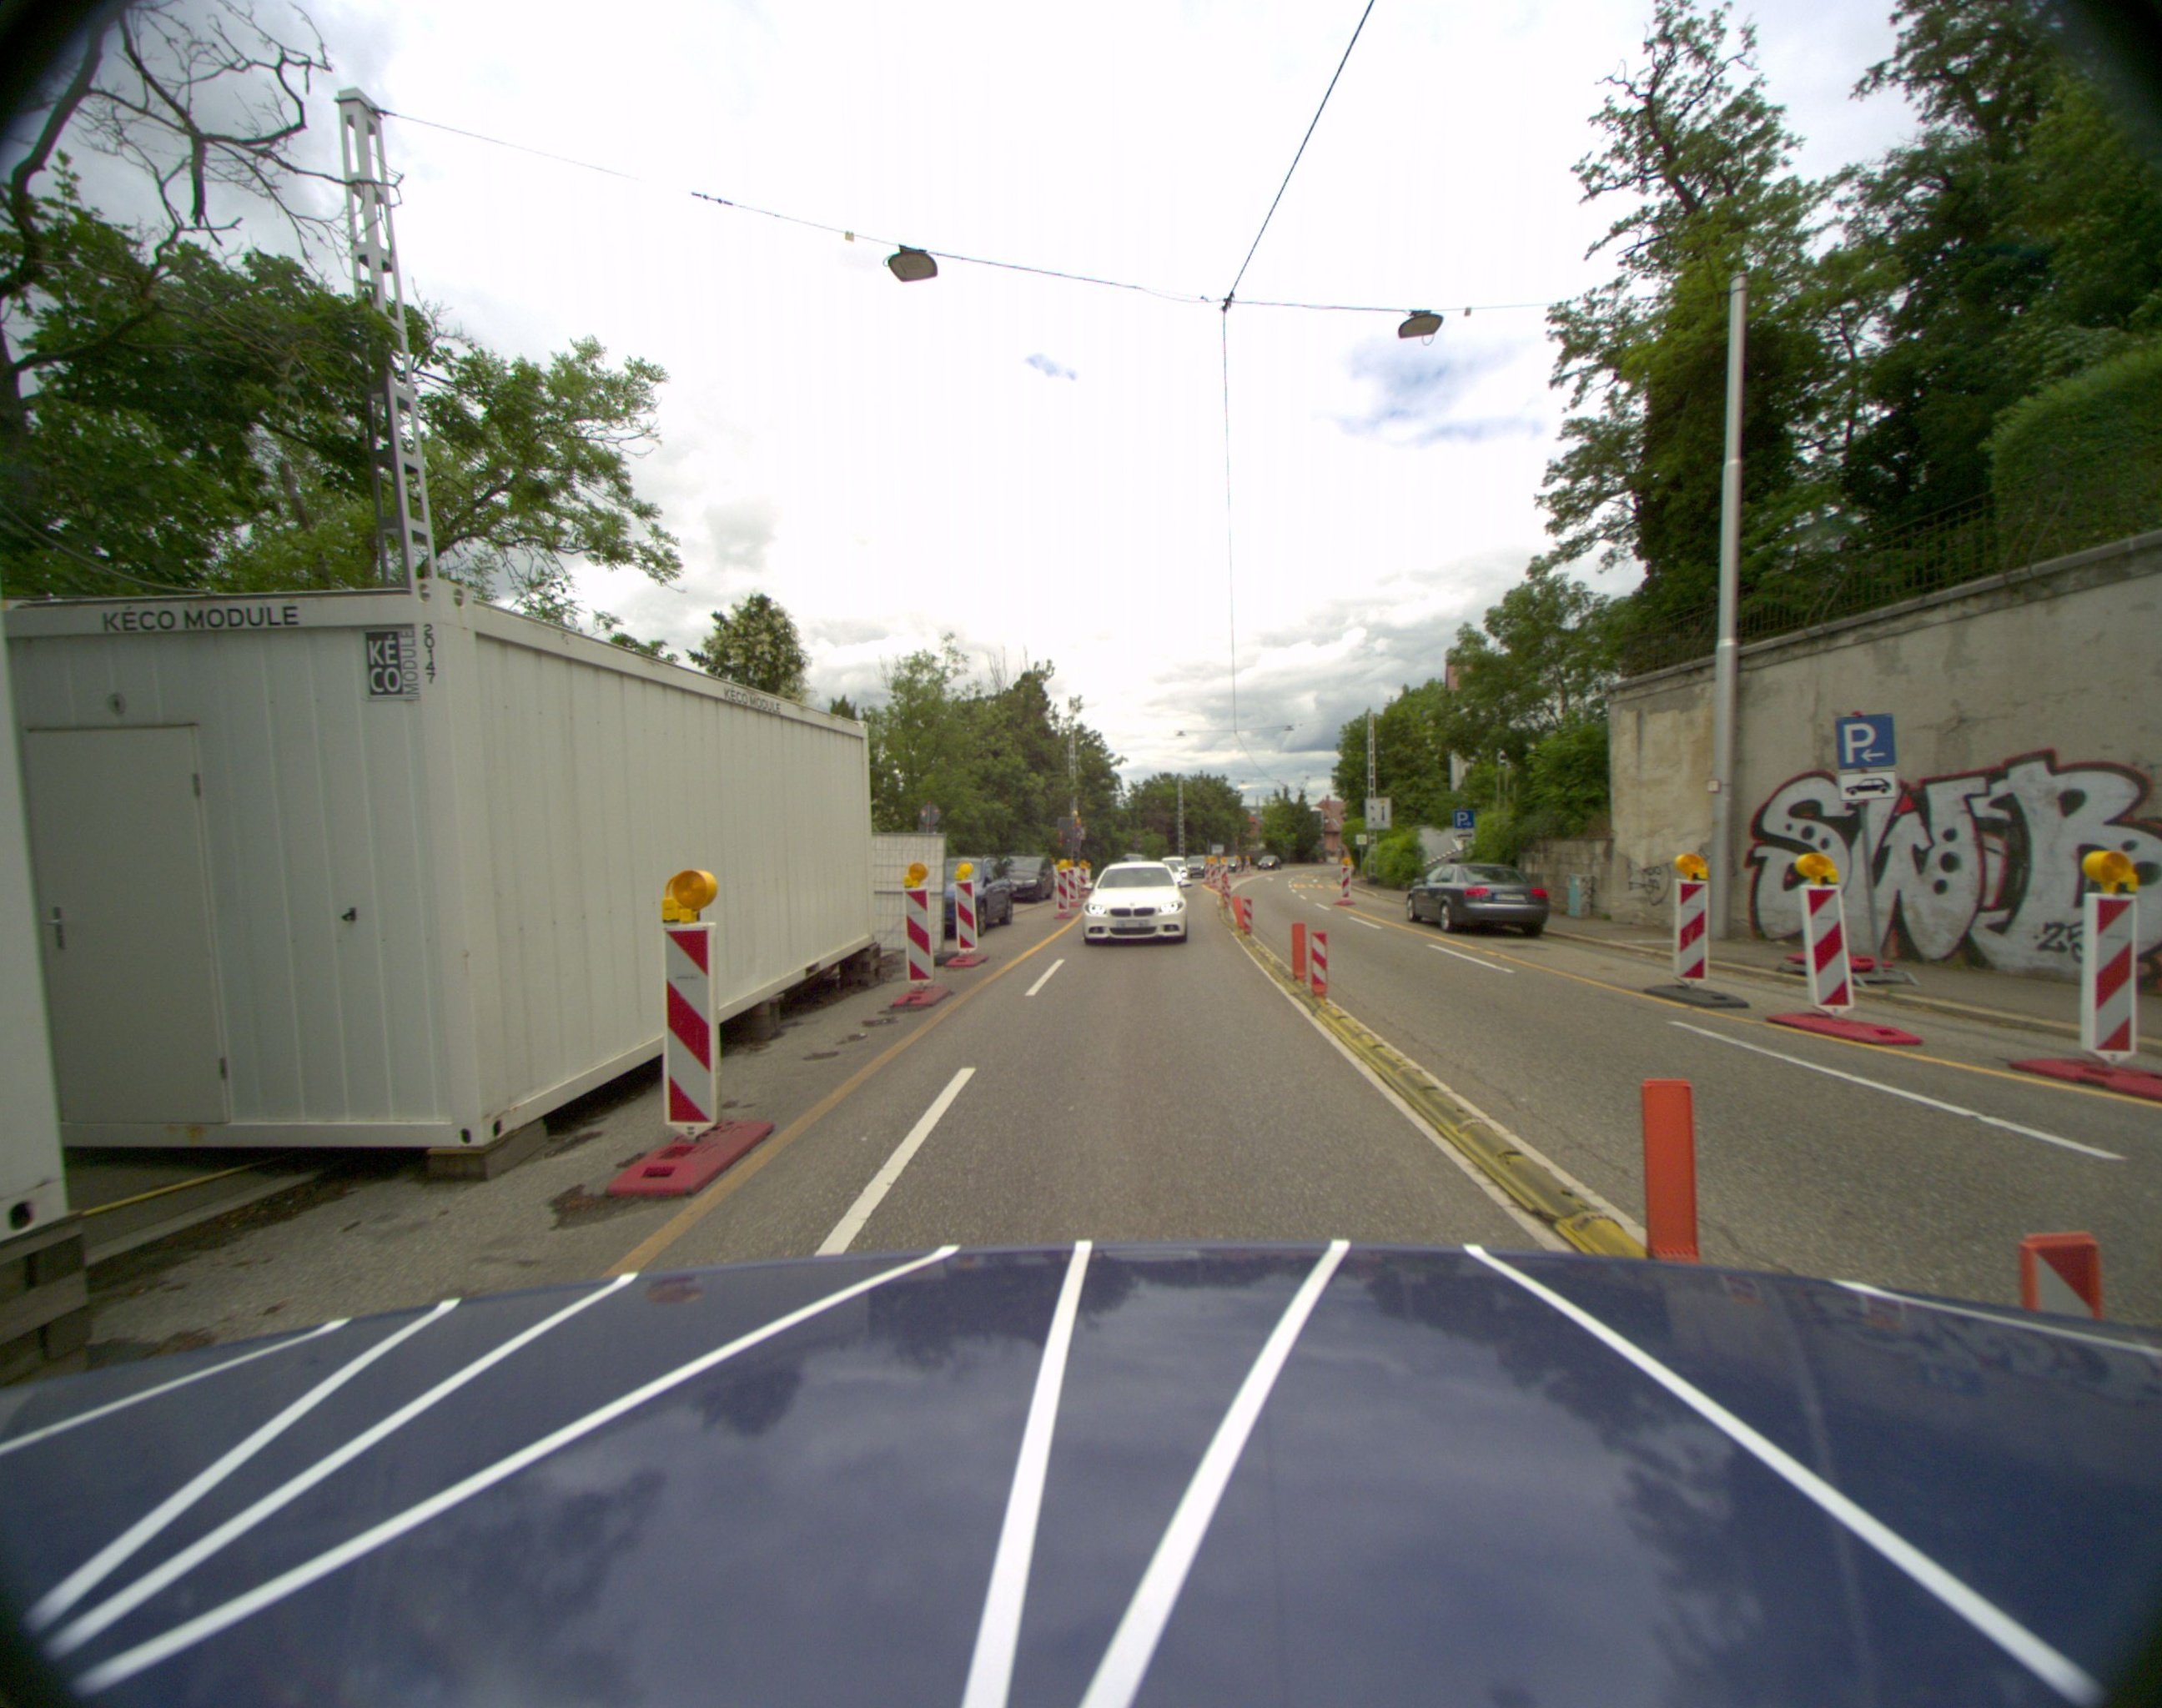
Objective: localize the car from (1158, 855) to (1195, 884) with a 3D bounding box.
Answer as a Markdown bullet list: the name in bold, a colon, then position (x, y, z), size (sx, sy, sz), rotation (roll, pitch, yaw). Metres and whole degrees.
- **car**: position (5.562, 0.863, 43.703), size (1.790, 1.542, 4.249), rotation (-1, 0, 11)

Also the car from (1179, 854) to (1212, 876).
- **car**: position (8.665, 0.804, 57.042), size (1.796, 1.501, 4.005), rotation (1, 1, 18)

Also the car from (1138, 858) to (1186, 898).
- **car**: position (3.397, 0.956, 31.388), size (1.791, 1.472, 4.247), rotation (-2, 0, 7)

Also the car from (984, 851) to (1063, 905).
- **car**: position (-1.968, 0.792, 27.653), size (1.865, 1.664, 4.649), rotation (4, 1, 7)

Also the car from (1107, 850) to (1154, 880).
- **car**: position (3.234, 0.659, 48.847), size (1.855, 1.664, 4.285), rotation (6, 2, 19)

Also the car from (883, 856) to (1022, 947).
- **car**: position (-2.661, 0.917, 16.890), size (1.843, 1.633, 4.504), rotation (2, 1, 6)

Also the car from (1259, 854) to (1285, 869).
- **car**: position (19.677, 0.798, 78.148), size (1.789, 1.472, 4.252), rotation (-1, 0, 24)

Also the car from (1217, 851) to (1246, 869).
- **car**: position (13.771, 0.551, 69.475), size (1.796, 1.501, 4.006), rotation (-1, 1, 24)

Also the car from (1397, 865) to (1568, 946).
- **car**: position (8.216, 0.970, 16.045), size (1.802, 1.365, 4.391), rotation (1, 0, 8)

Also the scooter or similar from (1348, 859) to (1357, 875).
- **scooter or similar**: position (21.878, 1.049, 61.150), size (0.429, 1.202, 1.283), rotation (-2, 0, 10)

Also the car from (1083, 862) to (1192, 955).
- **car**: position (1.210, 0.944, 14.865), size (1.791, 1.472, 4.247), rotation (-2, 0, 7)
